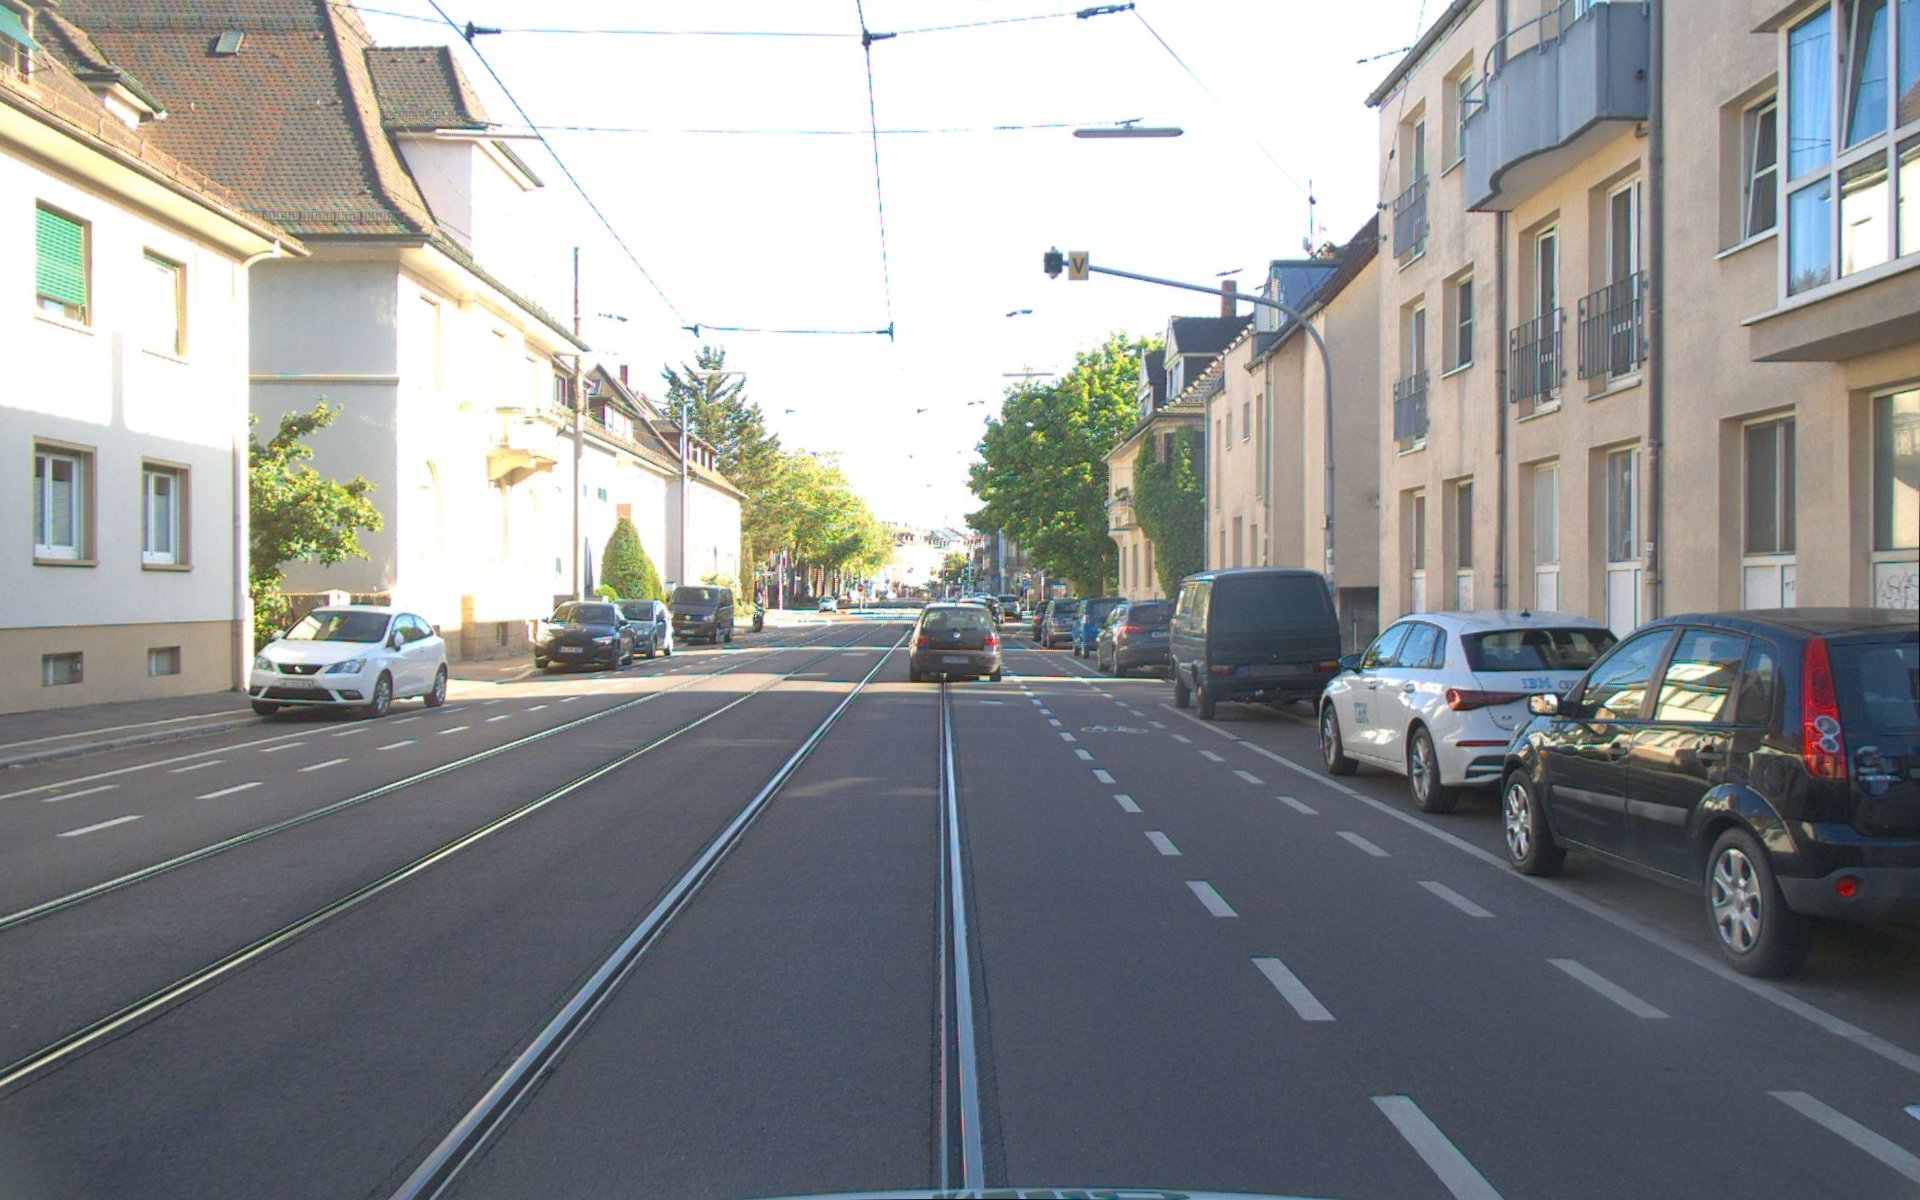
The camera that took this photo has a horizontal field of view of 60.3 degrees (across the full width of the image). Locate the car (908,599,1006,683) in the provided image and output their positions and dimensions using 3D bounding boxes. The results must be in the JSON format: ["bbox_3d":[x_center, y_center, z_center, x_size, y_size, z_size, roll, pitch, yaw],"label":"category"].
[{"bbox_3d":[-0.071,0.724,31.049,1.681,1.427,4.005,2,0,-1],"label":"car"}]

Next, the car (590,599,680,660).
[{"bbox_3d":[-8.640,0.761,44.215,1.642,1.503,3.835,2,0,-1],"label":"car"}]

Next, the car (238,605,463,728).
[{"bbox_3d":[-8.208,0.832,22.650,1.598,1.483,4.015,-1,0,-1],"label":"car"}]

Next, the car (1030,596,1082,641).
[{"bbox_3d":[3.535,0.684,61.534,1.632,1.591,3.770,1,0,-1],"label":"car"}]

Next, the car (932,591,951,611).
[{"bbox_3d":[-1.893,0.059,166.995,1.751,1.892,3.998,2,0,-2],"label":"car"}]

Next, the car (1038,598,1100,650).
[{"bbox_3d":[3.452,0.729,52.814,1.569,1.552,3.547,2,0,-3],"label":"car"}]

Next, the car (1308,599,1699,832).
[{"bbox_3d":[4.114,0.782,13.260,1.643,1.517,4.171,2,0,-2],"label":"car"}]

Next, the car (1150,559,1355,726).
[{"bbox_3d":[3.882,0.515,22.732,1.867,2.022,4.561,2,0,-2],"label":"car"}]

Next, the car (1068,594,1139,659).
[{"bbox_3d":[3.804,0.670,44.239,1.428,1.627,3.292,2,0,-3],"label":"car"}]

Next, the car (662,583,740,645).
[{"bbox_3d":[-9.048,0.472,58.122,1.867,2.049,4.949,2,0,0],"label":"car"}]

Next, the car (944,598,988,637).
[{"bbox_3d":[0.226,0.643,63.028,1.601,1.396,3.757,0,0,0],"label":"car"}]

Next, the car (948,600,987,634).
[{"bbox_3d":[0.305,0.729,73.607,1.704,1.466,3.809,0,0,-1],"label":"car"}]

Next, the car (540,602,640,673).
[{"bbox_3d":[-8.337,0.802,37.578,1.630,1.503,4.247,0,0,-4],"label":"car"}]

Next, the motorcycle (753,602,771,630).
[{"bbox_3d":[-8.802,0.712,73.640,0.525,1.183,2.171,-2,0,0],"label":"motorcycle"}]

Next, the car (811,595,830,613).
[{"bbox_3d":[-12.112,0.323,143.101,1.545,1.503,3.436,-1,0,-6],"label":"car"}]

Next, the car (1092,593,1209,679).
[{"bbox_3d":[3.883,0.701,34.447,1.709,1.627,4.431,2,0,-3],"label":"car"}]

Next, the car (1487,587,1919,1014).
[{"bbox_3d":[3.949,0.757,8.009,1.522,1.584,3.651,2,0,-2],"label":"car"}]

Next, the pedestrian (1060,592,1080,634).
[{"bbox_3d":[4.597,0.544,69.107,0.703,1.717,0.870,-1,0,-2],"label":"pedestrian"}]
